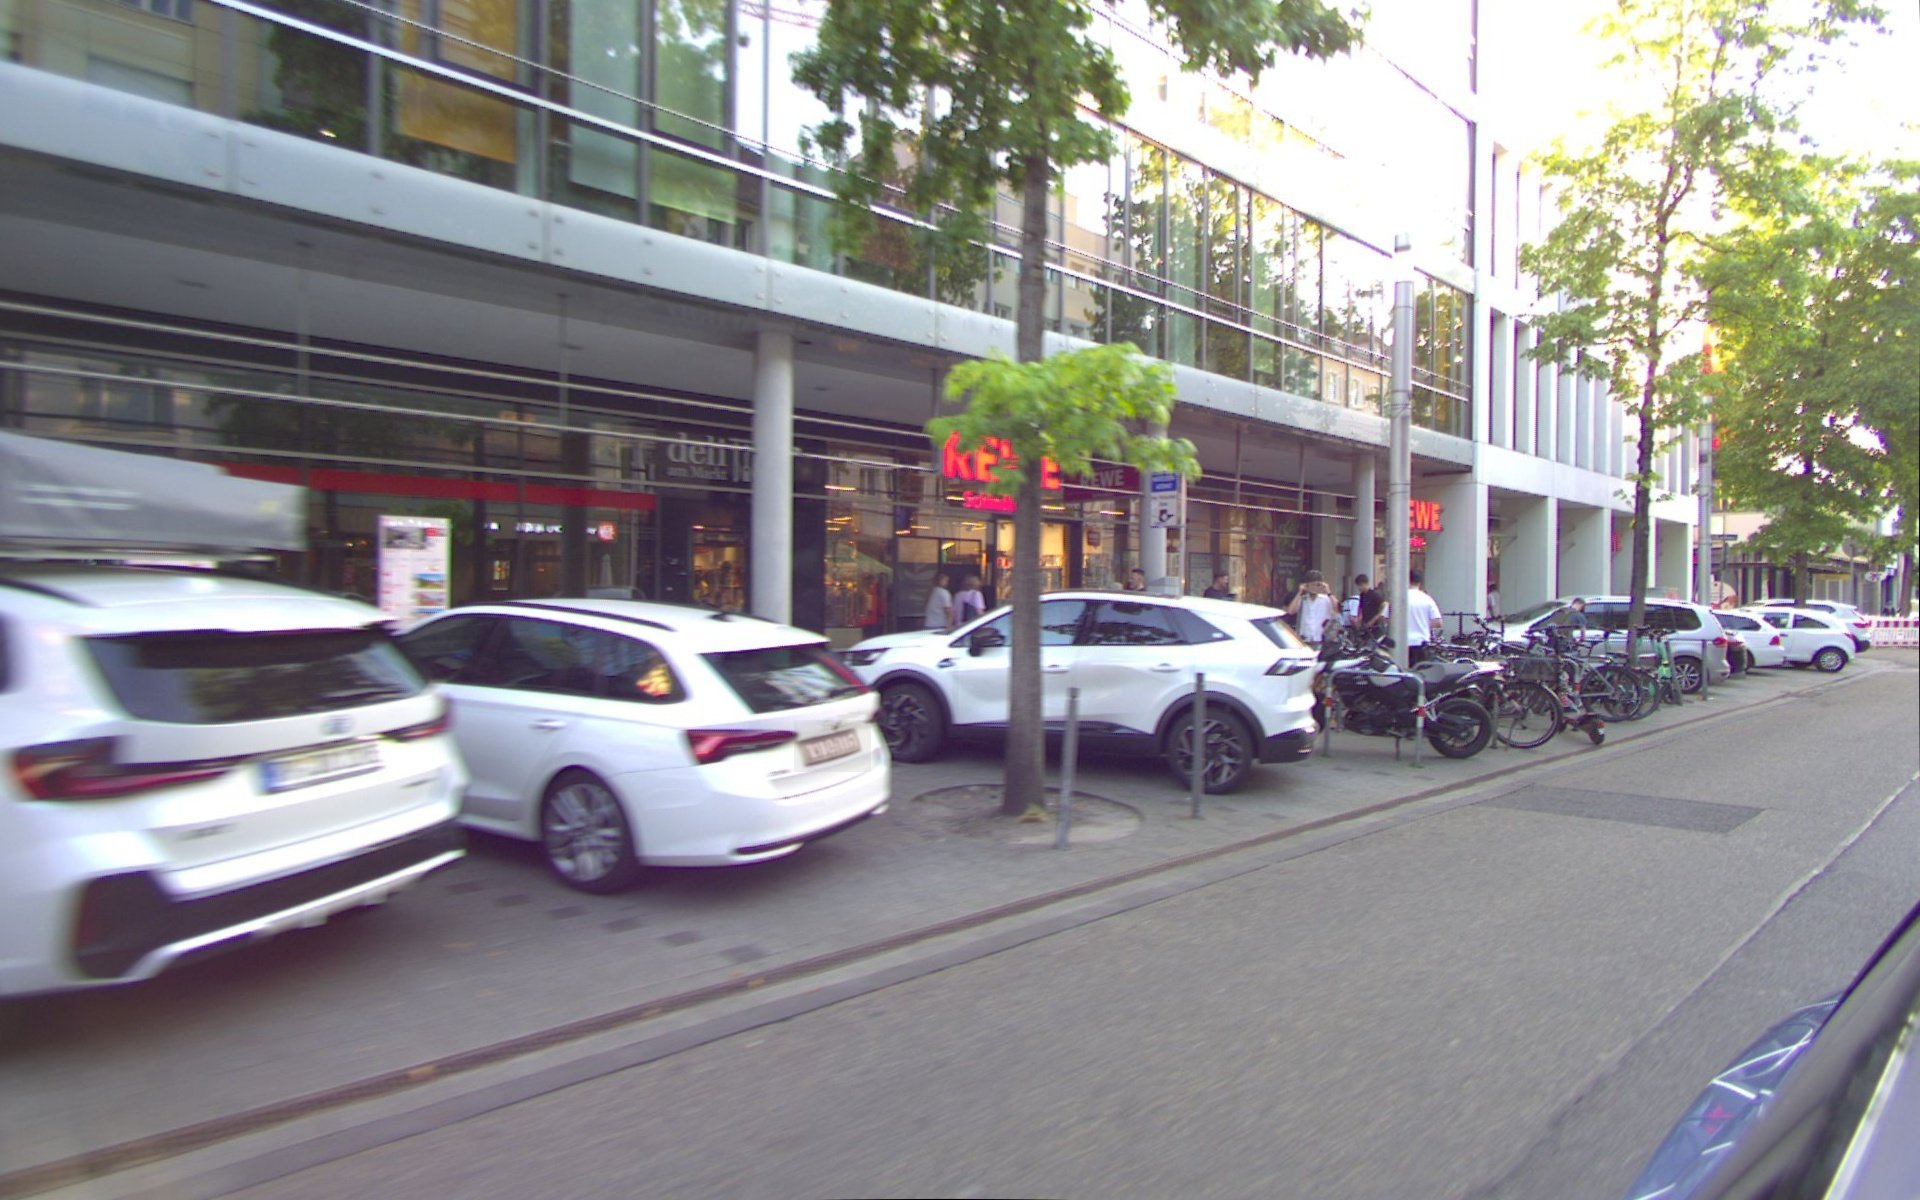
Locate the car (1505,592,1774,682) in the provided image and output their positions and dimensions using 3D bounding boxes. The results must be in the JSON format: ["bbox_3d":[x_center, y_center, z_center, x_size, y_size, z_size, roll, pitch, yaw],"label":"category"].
[{"bbox_3d":[13.703,0.675,20.772,4.311,1.440,1.937,4,3,28],"label":"car"}]

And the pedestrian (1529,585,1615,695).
[{"bbox_3d":[9.576,0.604,15.855,0.753,1.646,0.794,1,1,-22],"label":"pedestrian"}]

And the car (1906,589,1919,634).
[{"bbox_3d":[40.786,0.515,41.688,4.585,1.793,1.999,0,3,-39],"label":"car"}]

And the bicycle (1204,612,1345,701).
[{"bbox_3d":[4.388,0.760,14.180,1.809,1.108,0.819,2,1,19],"label":"bicycle"}]

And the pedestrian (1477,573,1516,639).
[{"bbox_3d":[14.372,0.160,27.109,0.791,1.721,0.681,2,-2,-41],"label":"pedestrian"}]

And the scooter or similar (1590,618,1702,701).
[{"bbox_3d":[10.546,0.903,15.580,1.312,1.196,0.497,1,0,13],"label":"scooter or similar"}]

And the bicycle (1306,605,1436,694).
[{"bbox_3d":[6.087,0.718,15.057,1.669,1.204,0.553,3,1,12],"label":"bicycle"}]

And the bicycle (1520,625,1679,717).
[{"bbox_3d":[8.707,0.948,13.842,1.727,1.089,0.491,3,1,20],"label":"bicycle"}]

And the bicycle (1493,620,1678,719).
[{"bbox_3d":[8.362,0.905,13.630,1.968,1.144,0.676,3,1,20],"label":"bicycle"}]

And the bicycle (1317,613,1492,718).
[{"bbox_3d":[5.807,0.818,13.267,1.985,1.162,0.690,3,1,32],"label":"bicycle"}]

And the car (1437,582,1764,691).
[{"bbox_3d":[11.542,0.591,18.634,4.607,1.660,1.947,2,2,14],"label":"car"}]

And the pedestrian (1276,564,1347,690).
[{"bbox_3d":[5.255,0.395,15.154,0.702,1.835,0.661,2,1,-11],"label":"pedestrian"}]

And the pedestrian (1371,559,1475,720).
[{"bbox_3d":[5.967,0.477,13.039,0.947,1.937,0.851,4,2,38],"label":"pedestrian"}]

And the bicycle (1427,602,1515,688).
[{"bbox_3d":[8.534,0.715,16.976,0.568,1.304,1.595,2,1,-1],"label":"bicycle"}]

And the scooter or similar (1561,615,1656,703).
[{"bbox_3d":[9.604,0.859,14.987,1.255,1.220,0.571,1,1,-26],"label":"scooter or similar"}]

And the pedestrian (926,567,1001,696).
[{"bbox_3d":[0.049,0.411,14.022,0.792,1.720,0.681,-1,0,-41],"label":"pedestrian"}]

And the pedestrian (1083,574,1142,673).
[{"bbox_3d":[2.465,0.363,16.349,0.653,1.567,0.681,-1,0,-41],"label":"pedestrian"}]

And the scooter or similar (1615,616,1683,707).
[{"bbox_3d":[10.103,0.881,14.831,1.193,1.237,0.483,0,3,-40],"label":"scooter or similar"}]

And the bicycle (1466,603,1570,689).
[{"bbox_3d":[9.123,0.722,16.620,0.628,1.265,1.664,2,1,-5],"label":"bicycle"}]

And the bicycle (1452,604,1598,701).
[{"bbox_3d":[8.395,0.746,15.083,1.819,1.289,0.673,3,1,31],"label":"bicycle"}]

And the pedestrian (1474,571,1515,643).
[{"bbox_3d":[13.694,0.185,25.920,0.791,1.794,0.681,2,-2,-41],"label":"pedestrian"}]

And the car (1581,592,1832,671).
[{"bbox_3d":[16.965,0.666,23.303,4.309,1.440,1.812,3,2,27],"label":"car"}]

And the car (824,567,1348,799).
[{"bbox_3d":[1.121,0.582,9.218,4.285,1.582,1.867,3,2,17],"label":"car"}]

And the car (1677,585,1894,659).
[{"bbox_3d":[22.801,0.551,28.186,4.229,1.692,1.936,3,3,25],"label":"car"}]

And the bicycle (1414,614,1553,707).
[{"bbox_3d":[7.377,0.828,14.295,1.673,1.153,0.473,3,1,30],"label":"bicycle"}]

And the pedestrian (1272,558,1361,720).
[{"bbox_3d":[4.251,0.445,12.121,0.806,1.835,0.598,4,1,11],"label":"pedestrian"}]

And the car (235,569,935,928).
[{"bbox_3d":[-2.428,0.639,6.432,4.144,1.475,1.847,4,3,27],"label":"car"}]

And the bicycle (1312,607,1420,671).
[{"bbox_3d":[7.341,0.704,18.299,1.843,1.096,0.575,1,1,-18],"label":"bicycle"}]

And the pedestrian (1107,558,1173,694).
[{"bbox_3d":[2.499,0.340,14.118,0.647,1.835,0.793,2,1,-6],"label":"pedestrian"}]

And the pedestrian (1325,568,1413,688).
[{"bbox_3d":[6.474,0.418,16.076,0.918,1.835,0.889,2,1,-5],"label":"pedestrian"}]

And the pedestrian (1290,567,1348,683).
[{"bbox_3d":[5.676,0.375,16.030,0.706,1.775,0.730,2,1,11],"label":"pedestrian"}]

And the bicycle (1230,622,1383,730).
[{"bbox_3d":[4.028,0.859,11.819,1.577,1.046,0.550,5,2,20],"label":"bicycle"}]

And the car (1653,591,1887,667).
[{"bbox_3d":[19.678,0.659,24.814,4.018,1.519,1.785,3,3,20],"label":"car"}]

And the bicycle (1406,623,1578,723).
[{"bbox_3d":[6.765,0.908,12.960,1.809,1.089,0.620,4,1,18],"label":"bicycle"}]

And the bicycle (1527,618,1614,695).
[{"bbox_3d":[9.890,0.881,16.461,0.621,1.089,1.872,3,1,13],"label":"bicycle"}]

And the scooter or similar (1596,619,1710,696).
[{"bbox_3d":[11.080,0.909,16.210,1.375,1.164,0.579,2,0,3],"label":"scooter or similar"}]

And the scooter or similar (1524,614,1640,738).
[{"bbox_3d":[7.358,0.860,12.037,0.686,1.320,1.389,2,1,11],"label":"scooter or similar"}]

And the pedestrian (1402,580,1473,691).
[{"bbox_3d":[7.297,0.528,15.486,0.647,1.644,0.707,2,1,-5],"label":"pedestrian"}]

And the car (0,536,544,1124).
[{"bbox_3d":[-4.233,0.572,4.503,4.152,1.657,1.910,3,2,18],"label":"car"}]

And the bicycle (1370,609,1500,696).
[{"bbox_3d":[7.204,0.770,15.391,1.685,1.164,0.495,3,1,35],"label":"bicycle"}]

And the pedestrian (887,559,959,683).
[{"bbox_3d":[-0.529,0.279,14.523,0.792,1.720,0.663,-1,0,-41],"label":"pedestrian"}]

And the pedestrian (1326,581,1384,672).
[{"bbox_3d":[7.103,0.458,18.211,0.618,1.591,0.765,0,1,-18],"label":"pedestrian"}]

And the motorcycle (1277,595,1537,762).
[{"bbox_3d":[4.392,0.741,10.097,2.167,1.490,0.795,2,0,6],"label":"motorcycle"}]

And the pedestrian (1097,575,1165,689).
[{"bbox_3d":[2.669,0.486,15.792,0.791,1.721,0.681,2,-2,-41],"label":"pedestrian"}]

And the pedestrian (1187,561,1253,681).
[{"bbox_3d":[4.136,0.319,16.105,0.703,1.835,0.660,1,1,-36],"label":"pedestrian"}]

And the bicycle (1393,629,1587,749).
[{"bbox_3d":[5.737,0.938,11.079,1.726,1.131,0.802,2,1,18],"label":"bicycle"}]
